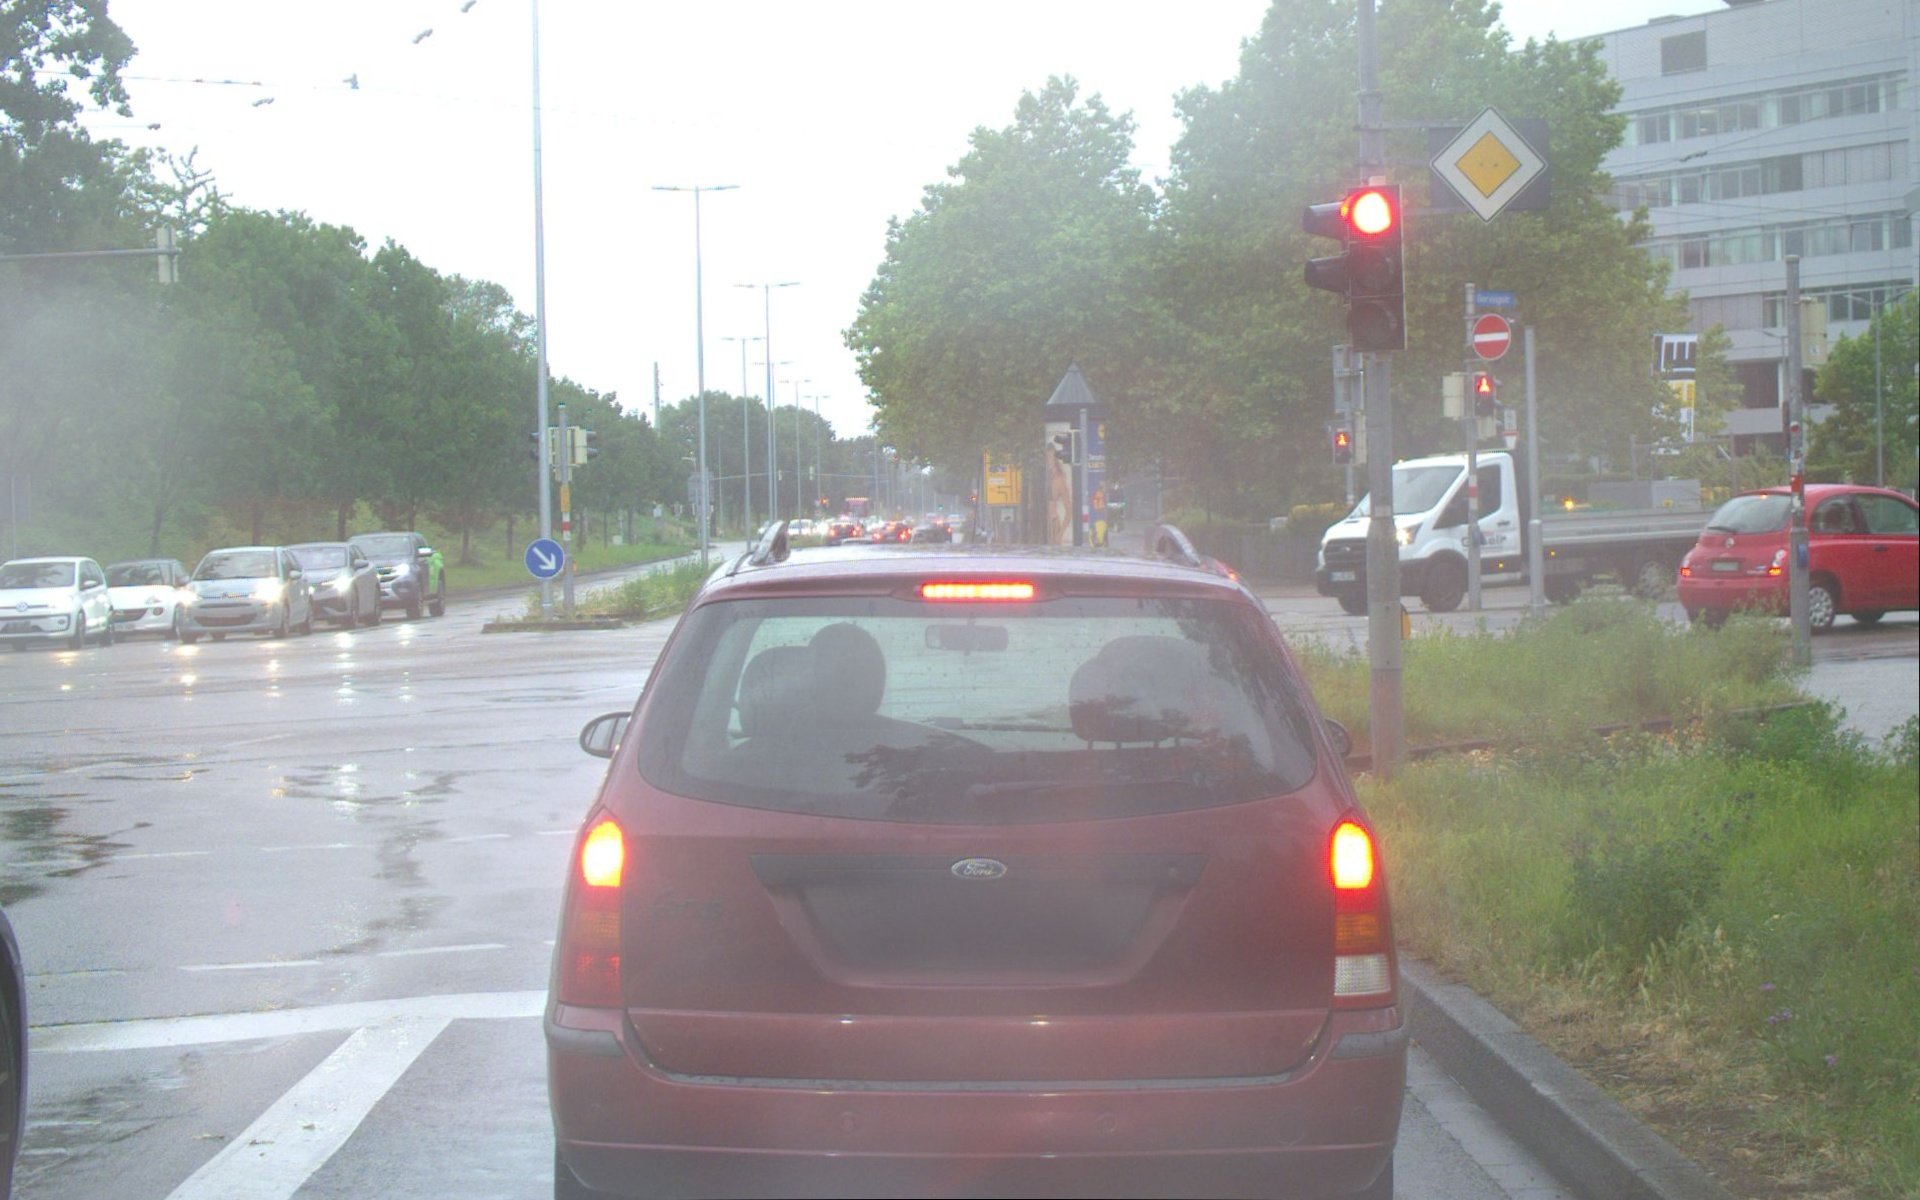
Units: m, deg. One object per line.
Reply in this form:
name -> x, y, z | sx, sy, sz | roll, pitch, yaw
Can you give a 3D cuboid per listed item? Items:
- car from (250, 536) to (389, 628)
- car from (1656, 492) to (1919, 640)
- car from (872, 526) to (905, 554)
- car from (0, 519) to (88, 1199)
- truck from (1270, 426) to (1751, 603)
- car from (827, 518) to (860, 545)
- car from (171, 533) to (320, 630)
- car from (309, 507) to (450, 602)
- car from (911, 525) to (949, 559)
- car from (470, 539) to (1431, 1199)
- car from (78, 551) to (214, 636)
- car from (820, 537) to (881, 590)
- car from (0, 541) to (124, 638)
car -> -11.732, -0.344, 63.237 | 1.762, 1.580, 4.814 | -2, 1, -2
car -> 9.318, -0.378, 36.179 | 3.804, 1.485, 1.678 | -1, 1, -32
car -> -4.041, -3.379, 193.991 | 1.698, 1.522, 3.846 | -1, 1, 1
car -> -2.686, 0.658, 4.896 | 1.769, 1.568, 4.822 | 1, 1, -2
truck -> 7.935, -1.254, 49.179 | 6.845, 2.357, 2.482 | -2, 1, -33
car -> -6.829, -4.045, 202.451 | 1.698, 1.522, 3.846 | -1, 1, 1
car -> -11.631, -0.335, 56.154 | 1.638, 1.468, 3.965 | -2, 1, -1
car -> -11.980, -0.968, 71.304 | 2.065, 1.813, 5.542 | -2, 1, -2
car -> -1.428, -2.749, 162.505 | 1.671, 1.522, 3.846 | -1, 1, 1
car -> -0.068, 0.614, 7.799 | 1.642, 1.460, 3.733 | 1, 1, -2
car -> -14.509, -0.141, 61.439 | 1.590, 1.399, 3.823 | -2, 1, -2
car -> -3.858, -1.284, 120.560 | 1.993, 1.784, 4.001 | 1, 1, -3
car -> -14.631, -0.190, 55.111 | 1.638, 1.447, 3.788 | -2, 1, -3
